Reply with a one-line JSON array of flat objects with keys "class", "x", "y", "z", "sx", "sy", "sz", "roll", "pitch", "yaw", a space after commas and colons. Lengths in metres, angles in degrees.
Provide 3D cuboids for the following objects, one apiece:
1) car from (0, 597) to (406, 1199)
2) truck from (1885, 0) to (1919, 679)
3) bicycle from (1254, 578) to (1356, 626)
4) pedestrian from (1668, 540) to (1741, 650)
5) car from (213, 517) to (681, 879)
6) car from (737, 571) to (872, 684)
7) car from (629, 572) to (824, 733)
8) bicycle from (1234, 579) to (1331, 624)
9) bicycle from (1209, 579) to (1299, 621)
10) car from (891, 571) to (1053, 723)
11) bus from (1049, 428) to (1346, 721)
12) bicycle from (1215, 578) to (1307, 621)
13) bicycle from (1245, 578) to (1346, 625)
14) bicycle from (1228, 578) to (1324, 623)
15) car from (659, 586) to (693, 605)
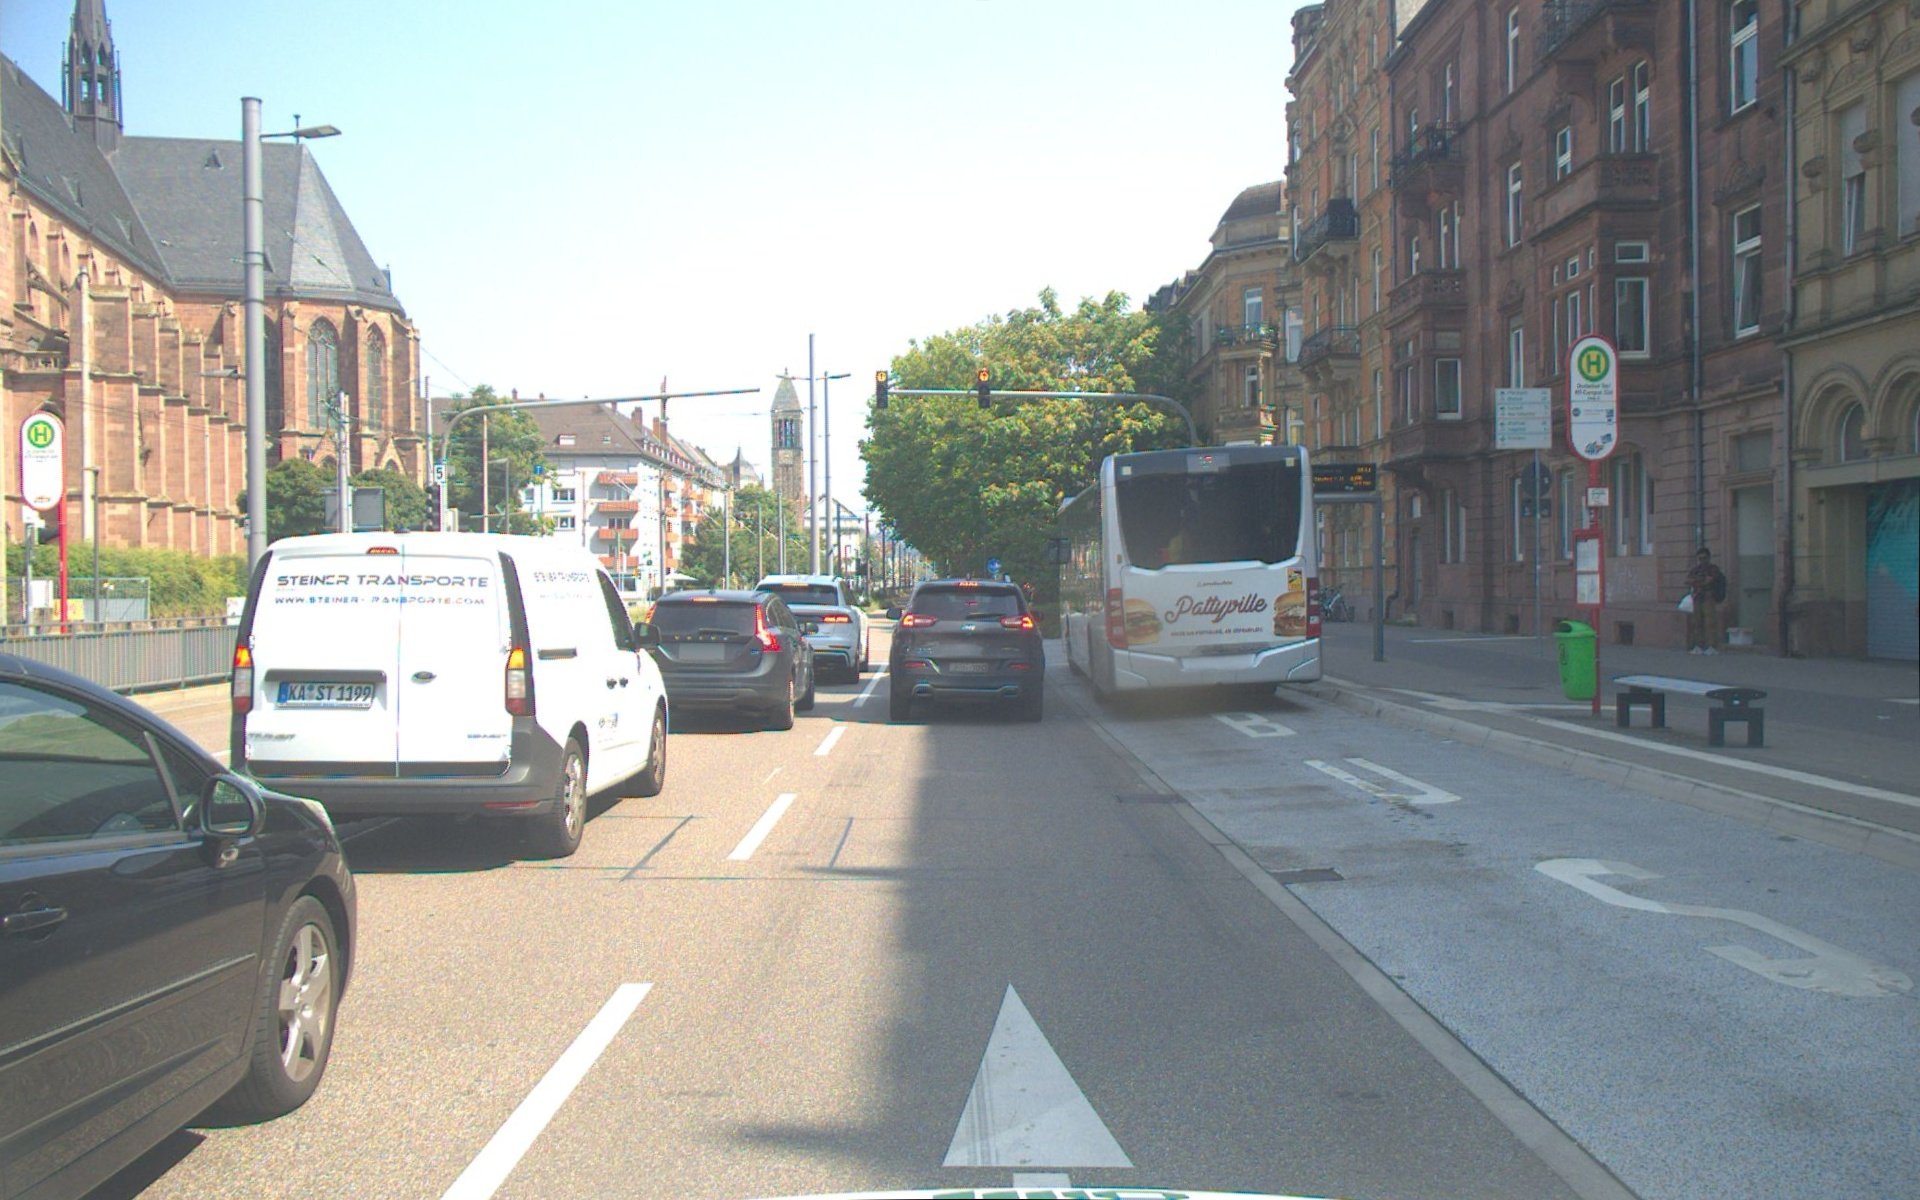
[{"class": "car", "x": -2.567, "y": 0.728, "z": 3.381, "sx": 1.654, "sy": 1.438, "sz": 3.800, "roll": 0, "pitch": 0, "yaw": -1}, {"class": "truck", "x": 3.119, "y": -0.012, "z": 0.449, "sx": 2.280, "sy": 2.818, "sz": 6.340, "roll": -3, "pitch": 0, "yaw": 2}, {"class": "bicycle", "x": 10.572, "y": 0.063, "z": 50.711, "sx": 2.933, "sy": 1.395, "sz": 0.871, "roll": -1, "pitch": 0, "yaw": -2}, {"class": "pedestrian", "x": 12.367, "y": -0.089, "z": 27.489, "sx": 0.858, "sy": 1.809, "sz": 0.736, "roll": -1, "pitch": 0, "yaw": -29}, {"class": "car", "x": -2.986, "y": 0.487, "z": 10.594, "sx": 1.712, "sy": 1.852, "sz": 4.239, "roll": 0, "pitch": 0, "yaw": -1}, {"class": "car", "x": -2.446, "y": 0.387, "z": 26.954, "sx": 1.863, "sy": 1.680, "sz": 4.308, "roll": 0, "pitch": 1, "yaw": -1}, {"class": "car", "x": -2.574, "y": 0.521, "z": 19.142, "sx": 1.712, "sy": 1.642, "sz": 4.307, "roll": 0, "pitch": 1, "yaw": -1}, {"class": "bicycle", "x": 10.412, "y": 0.038, "z": 53.474, "sx": 2.933, "sy": 1.395, "sz": 0.871, "roll": -1, "pitch": 0, "yaw": -2}, {"class": "bicycle", "x": 10.264, "y": -0.015, "z": 57.837, "sx": 2.943, "sy": 1.397, "sz": 0.947, "roll": -1, "pitch": 0, "yaw": -2}, {"class": "car", "x": 0.139, "y": 0.497, "z": 20.609, "sx": 1.795, "sy": 1.680, "sz": 4.308, "roll": 1, "pitch": 1, "yaw": 0}, {"class": "bus", "x": 3.014, "y": -0.331, "z": 24.711, "sx": 2.687, "sy": 3.161, "sz": 11.957, "roll": -3, "pitch": 0, "yaw": 1}, {"class": "bicycle", "x": 10.280, "y": -0.017, "z": 56.520, "sx": 2.943, "sy": 1.397, "sz": 0.947, "roll": -1, "pitch": 0, "yaw": -2}, {"class": "bicycle", "x": 10.463, "y": 0.039, "z": 51.614, "sx": 2.933, "sy": 1.395, "sz": 0.871, "roll": -1, "pitch": 0, "yaw": -2}, {"class": "bicycle", "x": 10.393, "y": 0.007, "z": 54.417, "sx": 2.943, "sy": 1.397, "sz": 0.947, "roll": -1, "pitch": 0, "yaw": -2}, {"class": "car", "x": -24.068, "y": -0.381, "z": 140.243, "sx": 1.709, "sy": 1.460, "sz": 4.576, "roll": -2, "pitch": 1, "yaw": 4}]
